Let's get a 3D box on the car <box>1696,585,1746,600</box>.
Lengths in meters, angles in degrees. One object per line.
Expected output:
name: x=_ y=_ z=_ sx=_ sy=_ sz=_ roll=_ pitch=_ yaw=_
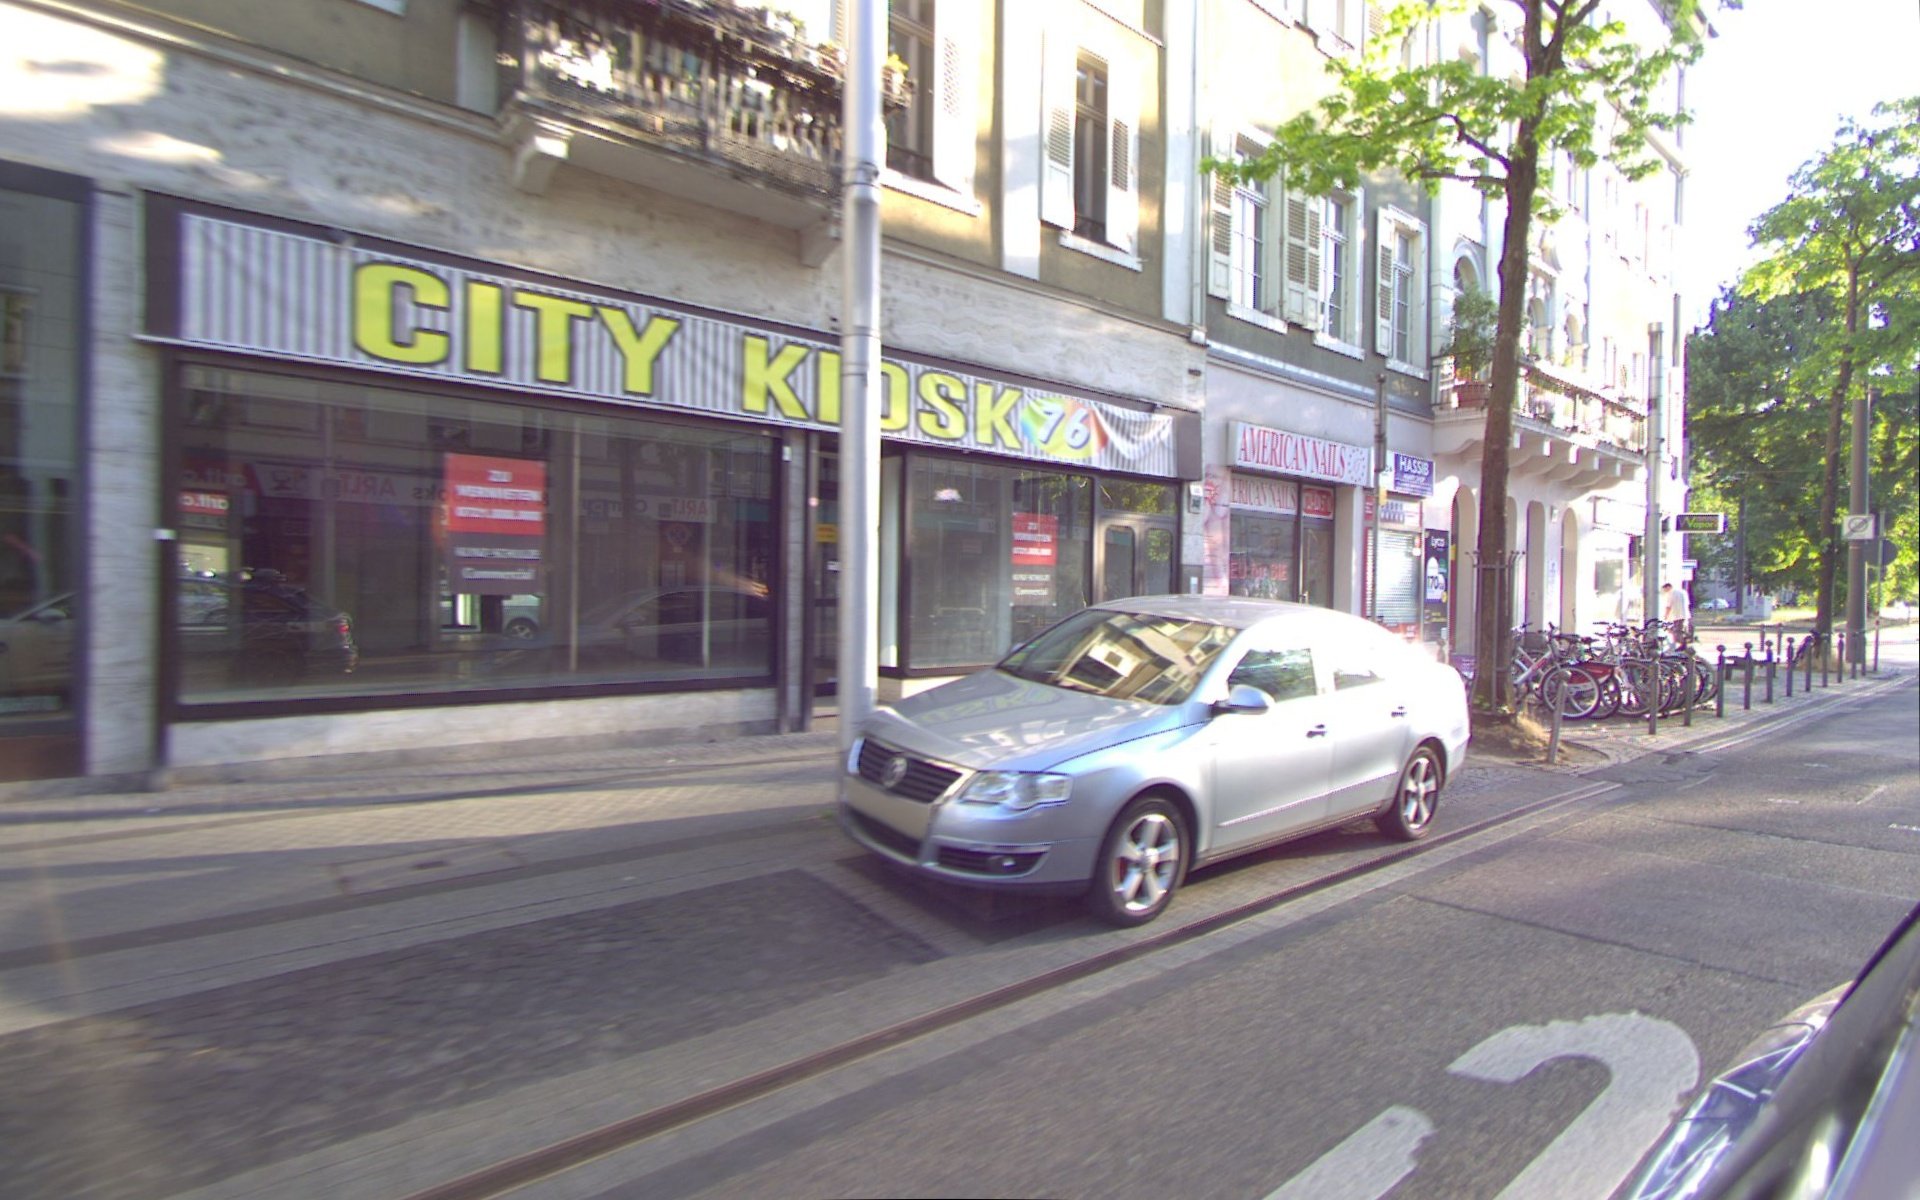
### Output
car: x=83.736 y=-0.813 z=111.347 sx=4.428 sy=1.625 sz=2.004 roll=0 pitch=1 yaw=-14

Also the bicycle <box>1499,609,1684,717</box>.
bicycle: x=7.800 y=0.735 z=12.587 sx=0.552 sy=1.169 sz=1.871 roll=0 pitch=1 yaw=-38

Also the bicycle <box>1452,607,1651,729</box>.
bicycle: x=6.841 y=0.739 z=11.803 sx=0.552 sy=1.168 sz=1.872 roll=0 pitch=4 yaw=-38

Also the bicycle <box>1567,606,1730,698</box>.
bicycle: x=9.675 y=0.699 z=14.293 sx=0.341 sy=1.169 sz=1.871 roll=0 pitch=1 yaw=-38

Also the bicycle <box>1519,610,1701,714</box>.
bicycle: x=8.275 y=0.744 z=12.965 sx=0.552 sy=1.169 sz=1.871 roll=0 pitch=1 yaw=-38

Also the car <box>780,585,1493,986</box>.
car: x=1.297 y=0.702 z=6.051 sx=4.344 sy=1.457 sz=1.781 roll=-1 pitch=5 yaw=-40

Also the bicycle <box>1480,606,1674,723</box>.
bicycle: x=7.372 y=0.728 z=12.183 sx=0.552 sy=1.168 sz=1.872 roll=0 pitch=4 yaw=-38

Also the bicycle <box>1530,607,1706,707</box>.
bicycle: x=8.713 y=0.716 z=13.473 sx=0.552 sy=1.169 sz=1.871 roll=0 pitch=1 yaw=-38

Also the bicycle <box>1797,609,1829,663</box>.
bicycle: x=18.452 y=0.762 z=21.879 sx=1.671 sy=1.090 sz=0.354 roll=-1 pitch=2 yaw=-44

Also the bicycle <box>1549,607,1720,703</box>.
bicycle: x=9.235 y=0.707 z=13.921 sx=0.552 sy=1.169 sz=1.871 roll=0 pitch=1 yaw=-38

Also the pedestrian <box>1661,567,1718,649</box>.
pedestrian: x=18.568 y=0.195 z=25.785 sx=0.831 sy=2.039 sz=0.842 roll=0 pitch=1 yaw=5

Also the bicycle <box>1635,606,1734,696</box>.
bicycle: x=10.523 y=0.707 z=14.757 sx=0.454 sy=1.169 sz=1.677 roll=1 pitch=1 yaw=9
